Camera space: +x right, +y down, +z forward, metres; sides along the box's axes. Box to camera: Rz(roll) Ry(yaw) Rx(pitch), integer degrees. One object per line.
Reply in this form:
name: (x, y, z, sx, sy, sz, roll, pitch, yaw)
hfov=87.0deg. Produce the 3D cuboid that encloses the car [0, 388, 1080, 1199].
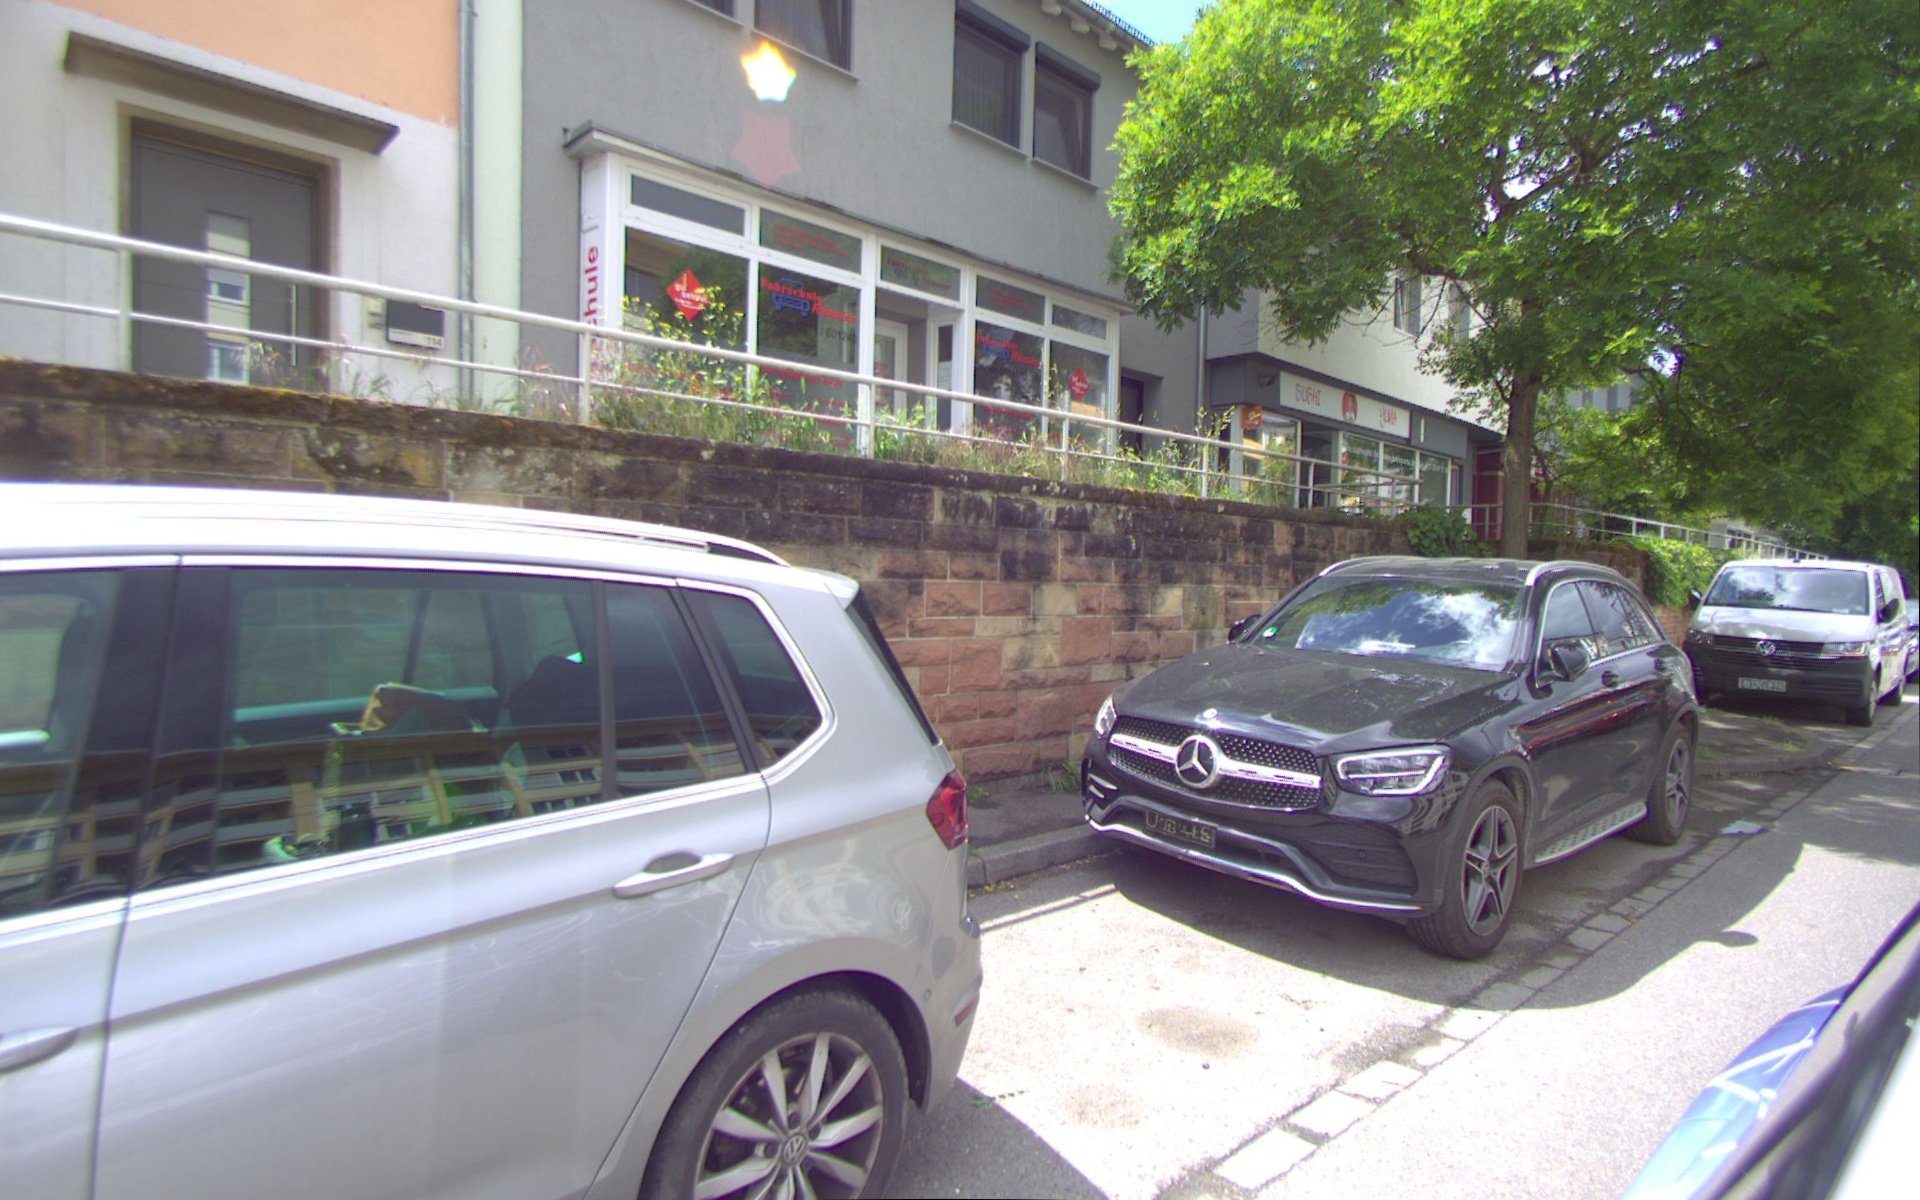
car: (-1.873, 0.532, 1.721, 4.175, 1.637, 1.793, 0, 3, -42)

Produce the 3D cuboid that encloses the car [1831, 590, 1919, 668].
car: (19.239, 0.537, 20.696, 4.076, 1.446, 1.782, 0, 2, -44)

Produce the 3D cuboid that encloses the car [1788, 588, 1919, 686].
car: (15.418, 0.544, 17.137, 3.670, 1.446, 1.577, 0, 1, -41)

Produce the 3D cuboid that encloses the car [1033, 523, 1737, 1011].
car: (2.585, 0.503, 5.530, 4.371, 1.637, 1.793, 0, 4, -42)

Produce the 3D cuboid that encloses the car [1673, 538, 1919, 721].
car: (11.322, 0.284, 13.382, 4.926, 1.994, 1.977, 0, 1, -41)

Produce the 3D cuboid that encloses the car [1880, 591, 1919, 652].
car: (24.426, 0.516, 25.209, 4.075, 1.446, 1.783, 0, 1, -41)
